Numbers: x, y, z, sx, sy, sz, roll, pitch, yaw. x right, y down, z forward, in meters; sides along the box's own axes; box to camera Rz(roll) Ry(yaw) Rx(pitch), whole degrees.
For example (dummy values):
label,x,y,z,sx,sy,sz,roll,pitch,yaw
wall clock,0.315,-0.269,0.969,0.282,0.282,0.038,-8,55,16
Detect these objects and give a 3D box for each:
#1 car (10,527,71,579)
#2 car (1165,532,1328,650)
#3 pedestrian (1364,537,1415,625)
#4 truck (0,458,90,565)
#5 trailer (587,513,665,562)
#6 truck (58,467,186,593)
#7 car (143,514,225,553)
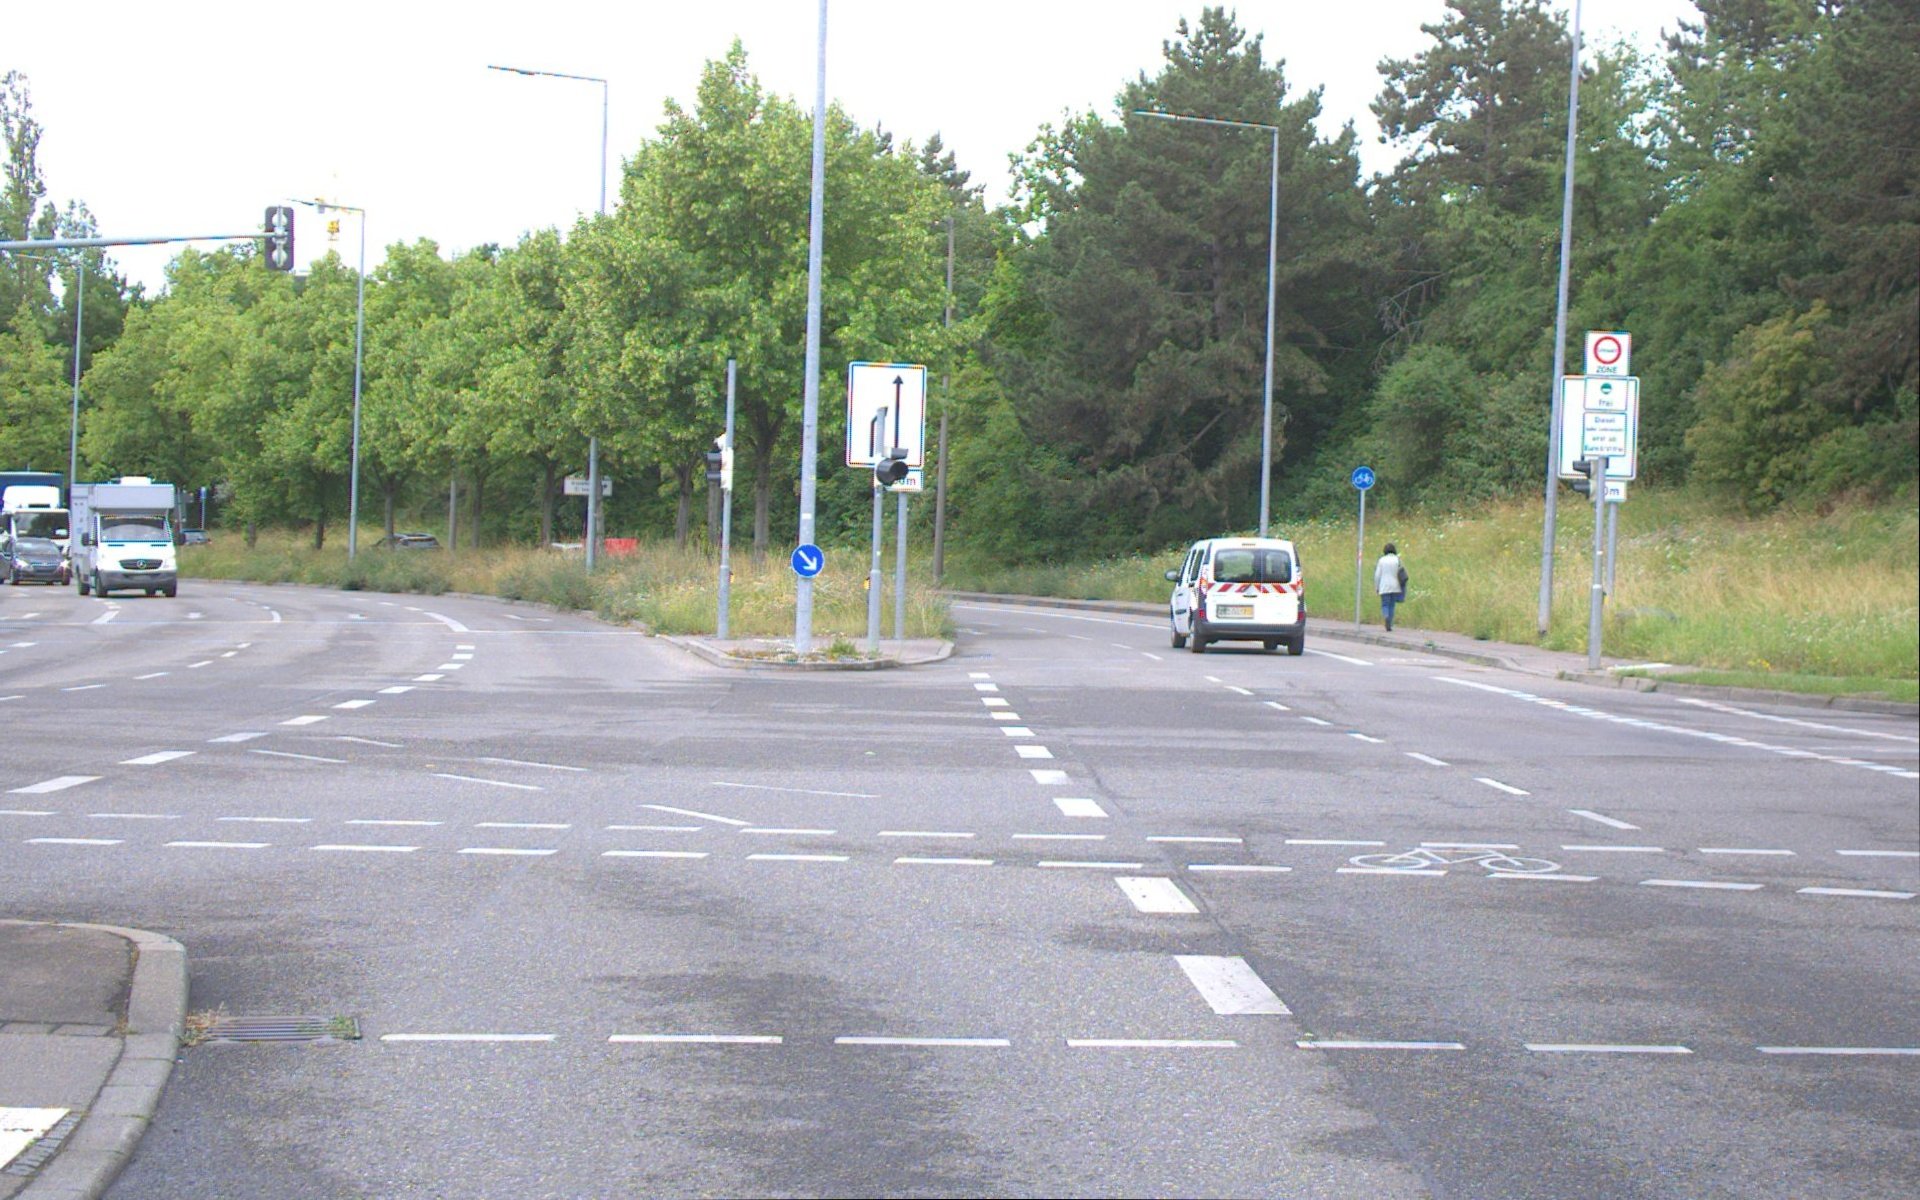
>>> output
label,x,y,z,sx,sy,sz,roll,pitch,yaw
car,-28.905,-1.502,108.002,1.780,1.441,4.530,-1,3,-15
car,4.512,-0.151,54.829,1.994,1.796,4.839,0,0,-2
pedestrian,8.032,-0.357,64.330,0.814,1.622,0.791,1,1,-1
truck,-35.649,-3.232,127.524,3.049,3.747,12.814,1,1,-30
trailer,-11.263,-2.106,115.927,1.764,1.610,3.045,0,1,-23
truck,-21.657,-1.790,88.636,2.115,3.124,5.901,1,1,-24
car,-32.835,-2.816,145.384,1.826,1.612,3.733,0,1,-41
